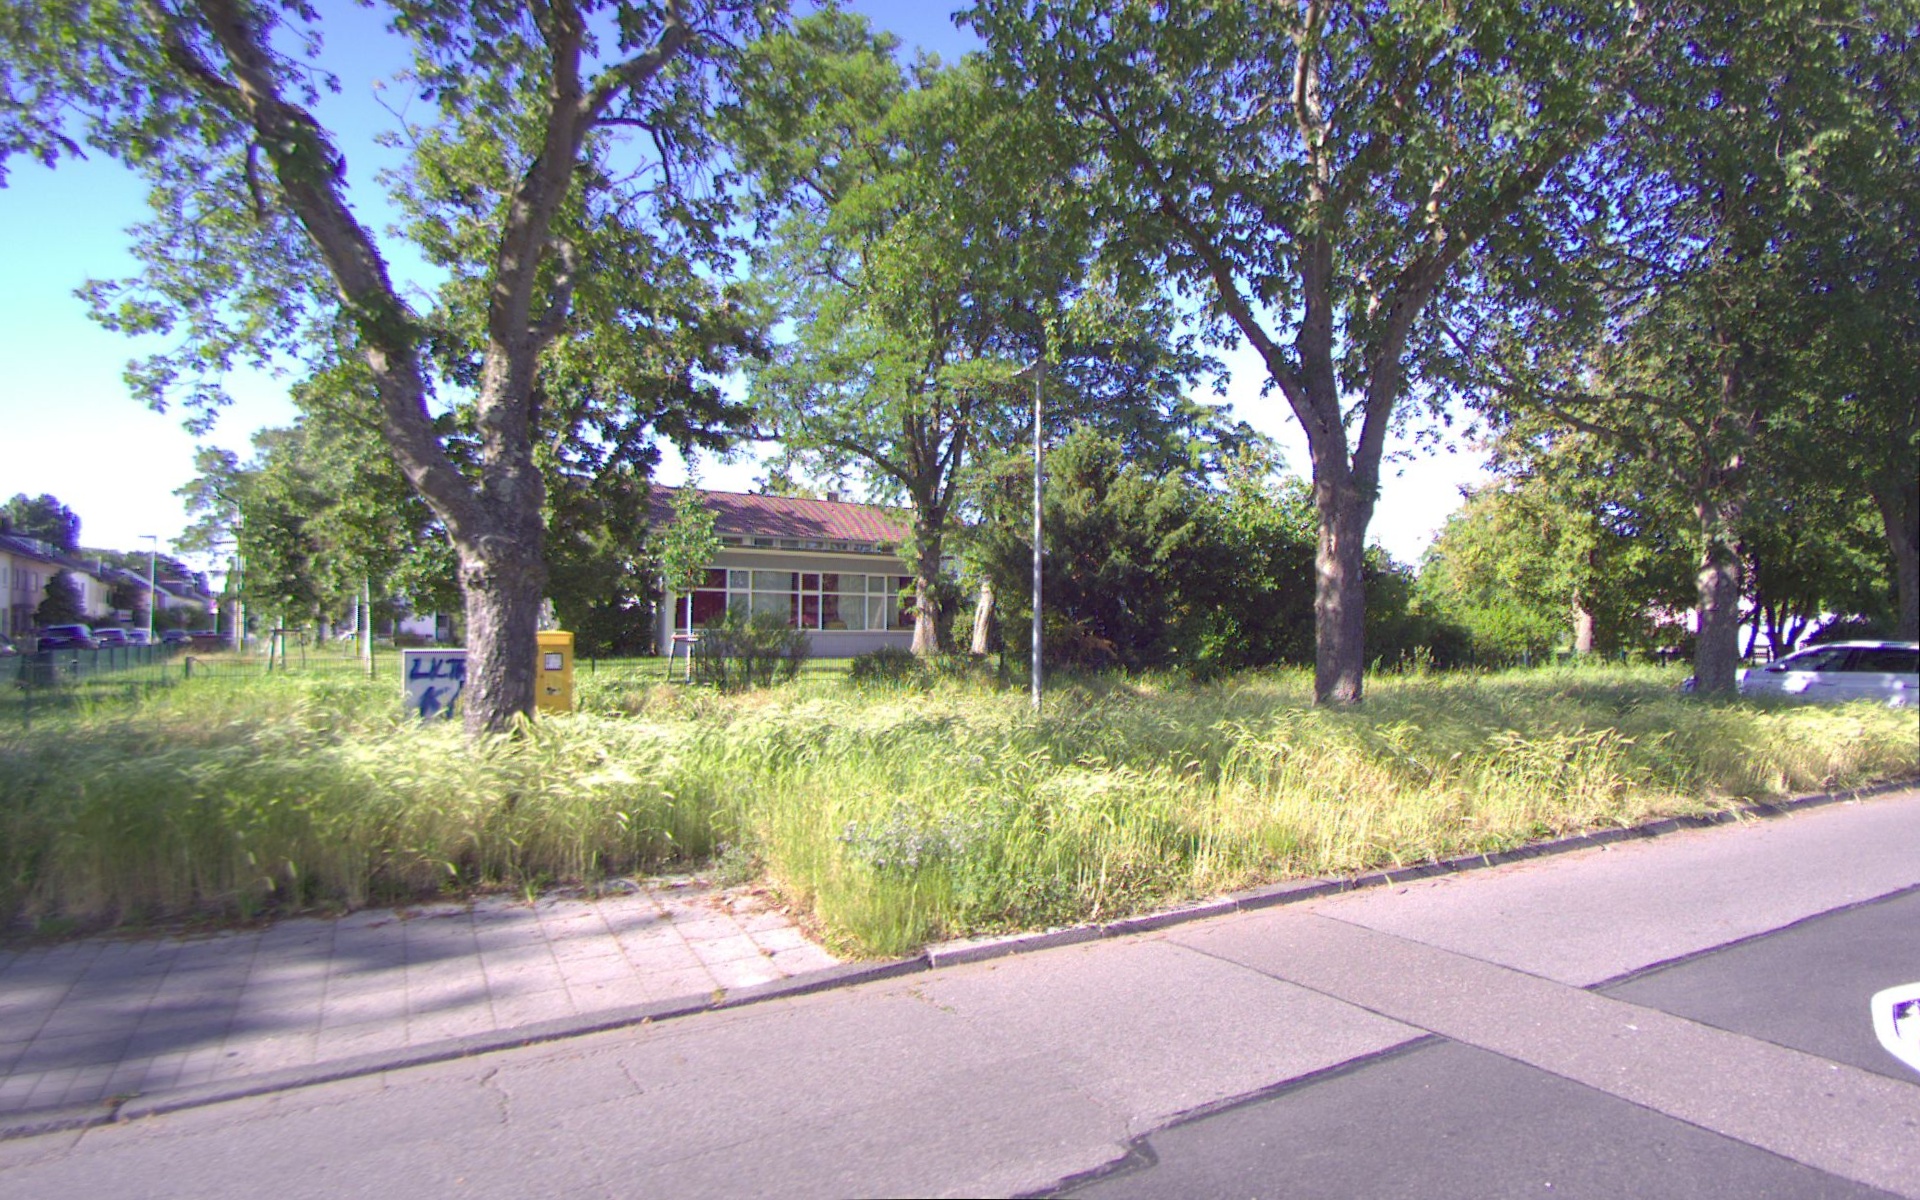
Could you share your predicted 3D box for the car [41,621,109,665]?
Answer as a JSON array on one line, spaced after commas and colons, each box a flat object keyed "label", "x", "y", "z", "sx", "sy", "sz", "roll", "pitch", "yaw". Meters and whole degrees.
[{"label": "car", "x": -45.585, "y": 2.177, "z": 51.802, "sx": 1.978, "sy": 1.974, "sz": 3.964, "roll": 2, "pitch": 1, "yaw": -32}]

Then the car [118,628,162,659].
[{"label": "car", "x": -57.545, "y": 3.027, "z": 70.552, "sx": 1.979, "sy": 2.040, "sz": 3.963, "roll": 1, "pitch": -2, "yaw": -34}]

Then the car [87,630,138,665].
[{"label": "car", "x": -52.888, "y": 2.941, "z": 62.747, "sx": 1.979, "sy": 2.040, "sz": 3.963, "roll": 1, "pitch": -1, "yaw": -34}]

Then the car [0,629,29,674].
[{"label": "car", "x": -35.611, "y": 1.852, "z": 36.550, "sx": 1.799, "sy": 1.560, "sz": 3.836, "roll": 1, "pitch": -2, "yaw": -31}]

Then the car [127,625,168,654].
[{"label": "car", "x": -60.151, "y": 2.909, "z": 74.397, "sx": 1.979, "sy": 2.040, "sz": 3.963, "roll": 1, "pitch": -2, "yaw": -34}]

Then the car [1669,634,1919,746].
[{"label": "car", "x": 13.995, "y": 1.340, "z": 15.478, "sx": 1.975, "sy": 1.523, "sz": 4.653, "roll": 2, "pitch": -1, "yaw": -28}]
